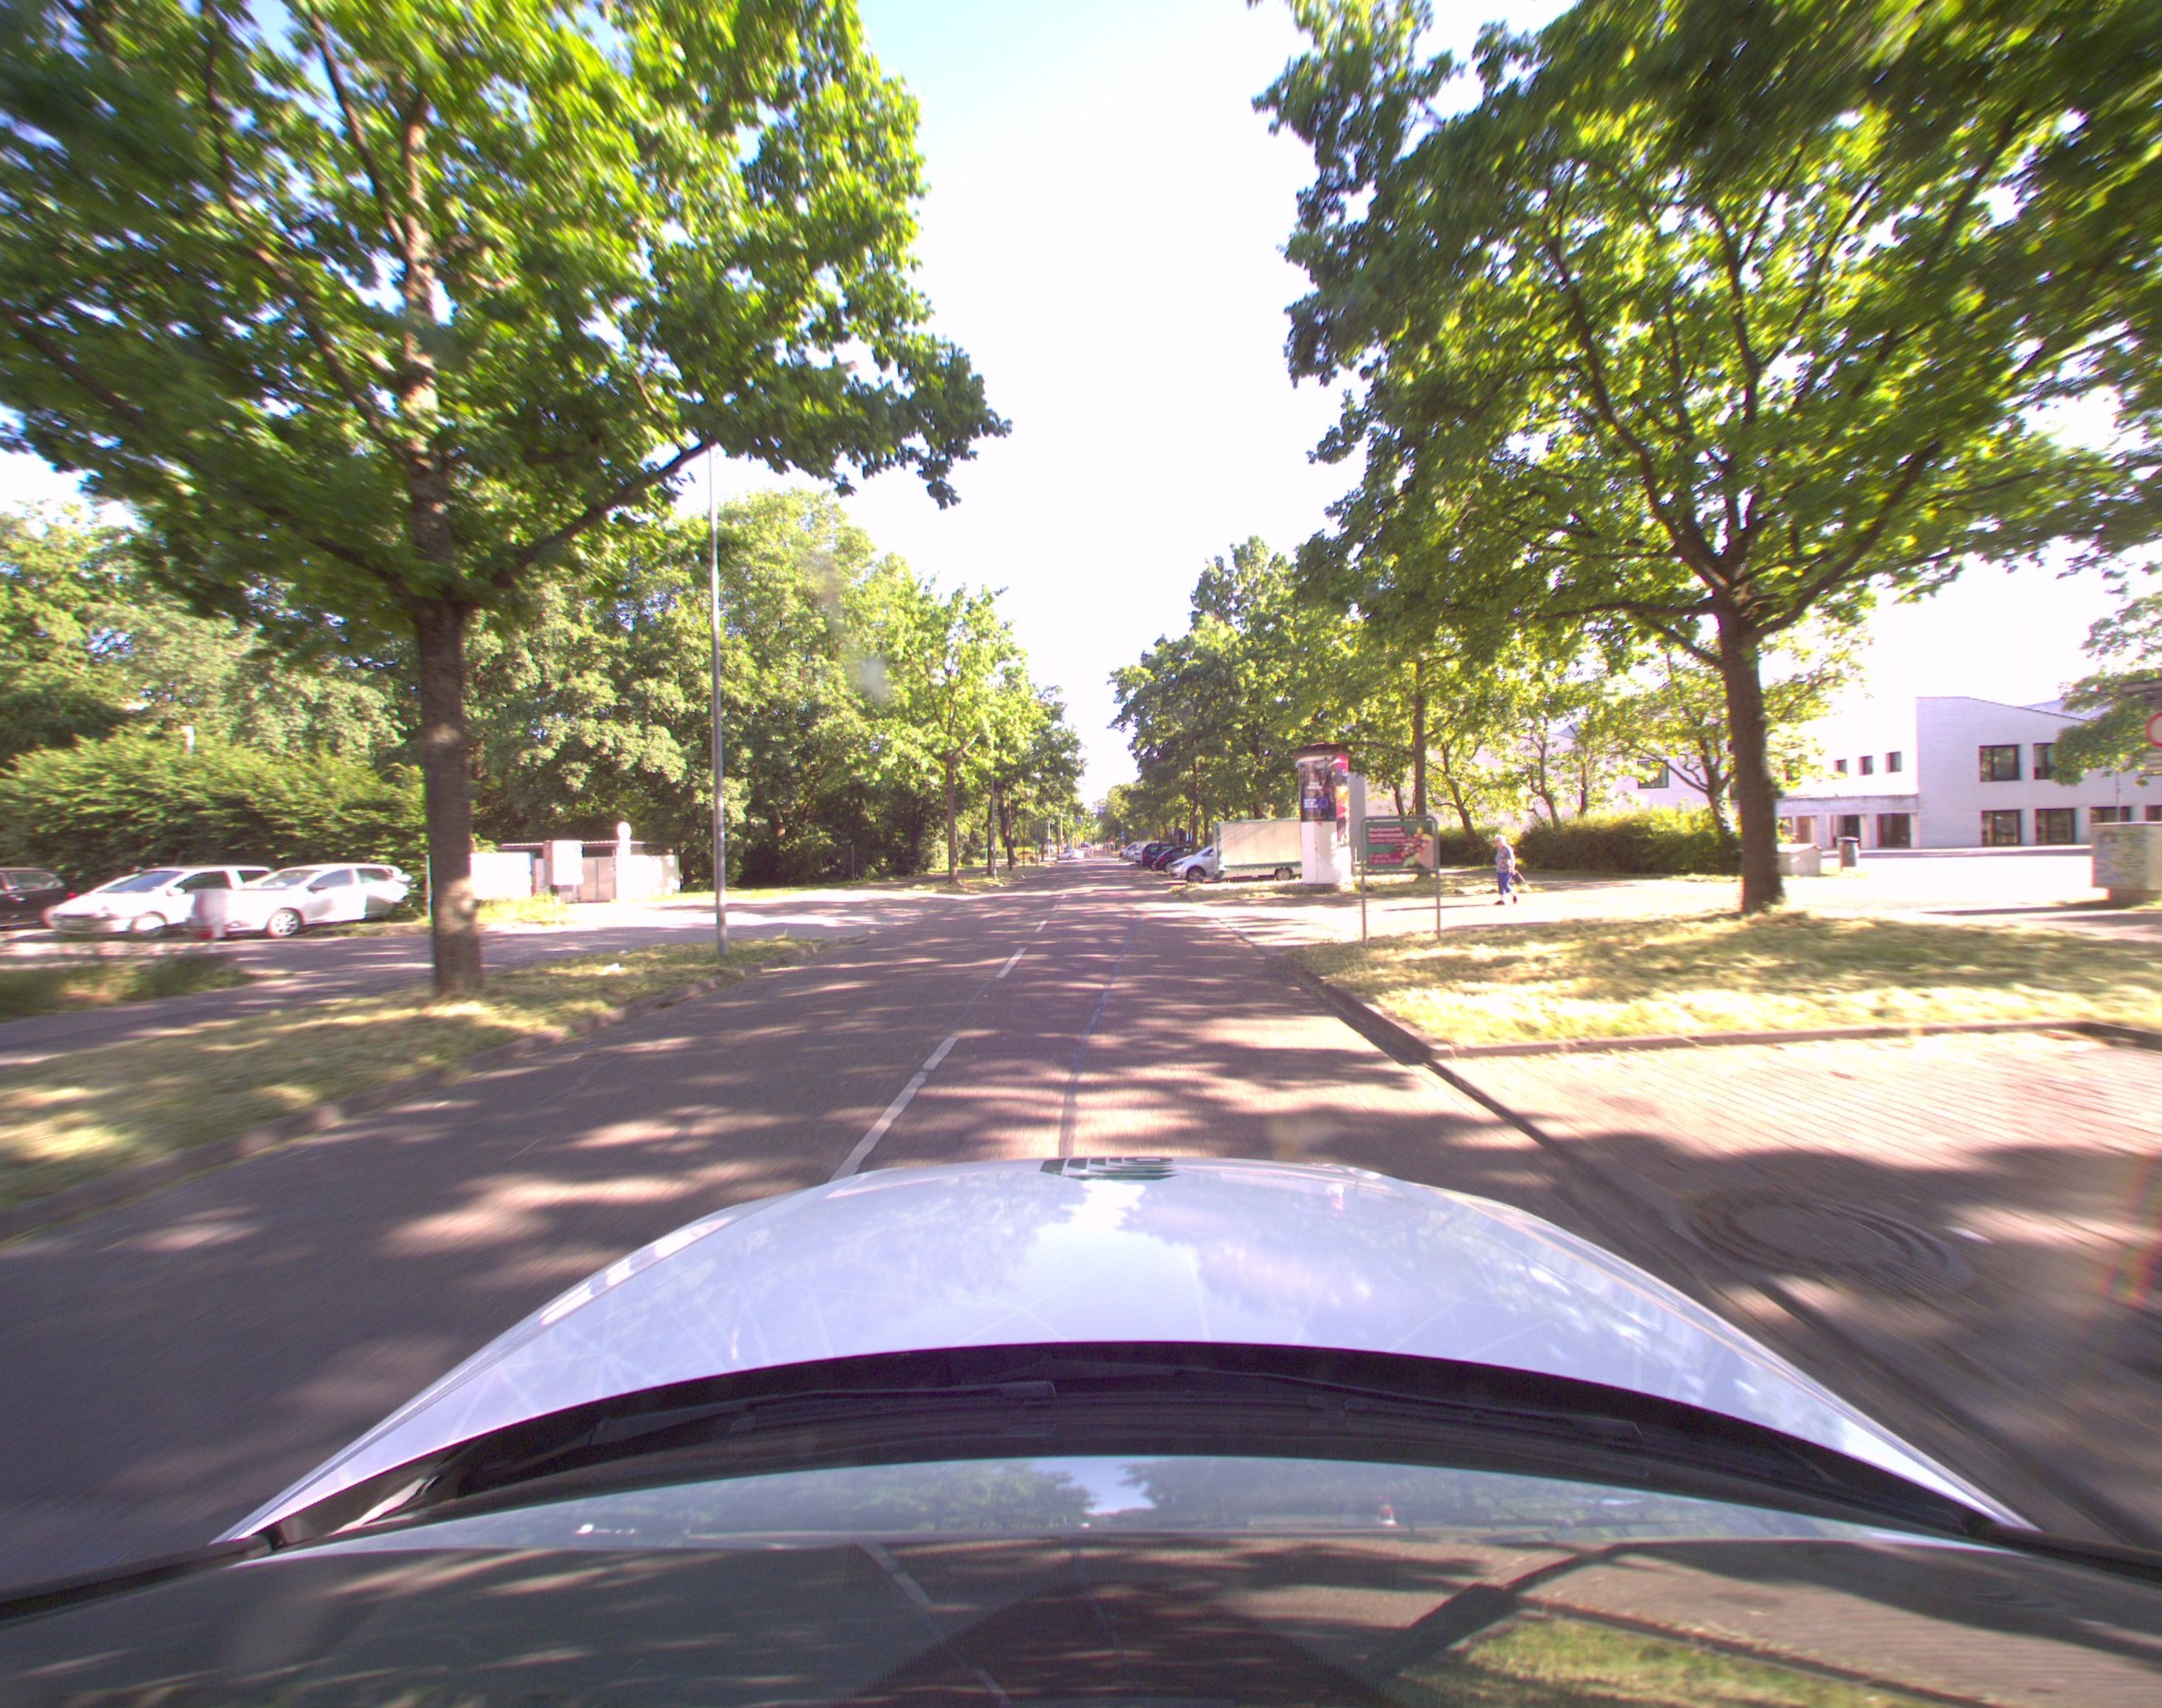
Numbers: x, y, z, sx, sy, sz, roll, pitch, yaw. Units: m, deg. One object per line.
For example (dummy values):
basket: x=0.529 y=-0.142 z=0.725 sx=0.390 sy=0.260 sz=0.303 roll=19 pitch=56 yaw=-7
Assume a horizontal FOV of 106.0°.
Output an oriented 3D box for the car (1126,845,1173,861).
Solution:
car: x=6.800 y=-0.073 z=81.001 sx=4.430 sy=1.390 sz=1.911 roll=-3 pitch=0 yaw=0

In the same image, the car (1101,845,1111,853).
car: x=5.361 y=-1.048 z=175.719 sx=1.987 sy=1.716 sz=4.000 roll=-1 pitch=0 yaw=0

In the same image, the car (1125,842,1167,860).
car: x=7.028 y=-0.285 z=88.606 sx=4.371 sy=1.651 sz=1.850 roll=-4 pitch=0 yaw=-1

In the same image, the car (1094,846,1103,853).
car: x=4.060 y=-1.084 z=191.488 sx=1.987 sy=1.716 sz=4.000 roll=-1 pitch=0 yaw=0

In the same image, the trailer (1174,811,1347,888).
trailer: x=6.318 y=-0.154 z=29.180 sx=5.751 sy=2.317 sz=1.687 roll=-4 pitch=0 yaw=3

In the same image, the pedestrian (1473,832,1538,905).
pedestrian: x=9.177 y=0.306 z=17.599 sx=0.948 sy=1.500 sz=0.875 roll=-4 pitch=1 yaw=-38

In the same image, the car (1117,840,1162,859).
car: x=7.074 y=-0.508 z=98.917 sx=5.171 sy=2.105 sz=2.082 roll=-2 pitch=0 yaw=-1

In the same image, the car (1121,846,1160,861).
car: x=6.788 y=-0.045 z=93.052 sx=4.200 sy=1.568 sz=1.933 roll=-1 pitch=0 yaw=-1

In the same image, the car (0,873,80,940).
car: x=-23.765 y=1.145 z=17.077 sx=1.414 sy=1.367 sz=3.213 roll=0 pitch=1 yaw=9

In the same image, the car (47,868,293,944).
car: x=-19.207 y=1.040 z=17.372 sx=1.414 sy=1.367 sz=3.213 roll=0 pitch=1 yaw=9

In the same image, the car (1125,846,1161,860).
car: x=6.877 y=-0.145 z=91.014 sx=3.971 sy=1.433 sz=1.902 roll=-2 pitch=0 yaw=2

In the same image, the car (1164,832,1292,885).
car: x=5.707 y=0.171 z=31.983 sx=4.625 sy=1.722 sz=1.988 roll=-4 pitch=0 yaw=1

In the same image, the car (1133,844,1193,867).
car: x=6.561 y=0.084 z=65.746 sx=4.654 sy=1.580 sz=1.917 roll=-3 pitch=0 yaw=1

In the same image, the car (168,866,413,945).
car: x=-16.600 y=1.004 z=17.353 sx=1.537 sy=1.422 sz=3.496 roll=0 pitch=1 yaw=9

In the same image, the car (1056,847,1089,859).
car: x=-1.162 y=-0.150 z=109.274 sx=3.948 sy=1.484 sz=2.013 roll=-2 pitch=0 yaw=40

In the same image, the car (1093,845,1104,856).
car: x=3.257 y=-0.626 z=154.829 sx=1.987 sy=1.933 sz=4.000 roll=-1 pitch=0 yaw=0

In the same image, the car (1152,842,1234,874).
car: x=6.131 y=0.210 z=44.907 sx=4.229 sy=1.519 sz=2.079 roll=-3 pitch=0 yaw=2

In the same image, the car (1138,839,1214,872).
car: x=5.955 y=0.058 z=51.516 sx=4.514 sy=1.801 sz=1.937 roll=-3 pitch=0 yaw=1

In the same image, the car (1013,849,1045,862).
car: x=-7.259 y=0.208 z=113.993 sx=3.957 sy=1.655 sz=2.008 roll=-2 pitch=0 yaw=15
